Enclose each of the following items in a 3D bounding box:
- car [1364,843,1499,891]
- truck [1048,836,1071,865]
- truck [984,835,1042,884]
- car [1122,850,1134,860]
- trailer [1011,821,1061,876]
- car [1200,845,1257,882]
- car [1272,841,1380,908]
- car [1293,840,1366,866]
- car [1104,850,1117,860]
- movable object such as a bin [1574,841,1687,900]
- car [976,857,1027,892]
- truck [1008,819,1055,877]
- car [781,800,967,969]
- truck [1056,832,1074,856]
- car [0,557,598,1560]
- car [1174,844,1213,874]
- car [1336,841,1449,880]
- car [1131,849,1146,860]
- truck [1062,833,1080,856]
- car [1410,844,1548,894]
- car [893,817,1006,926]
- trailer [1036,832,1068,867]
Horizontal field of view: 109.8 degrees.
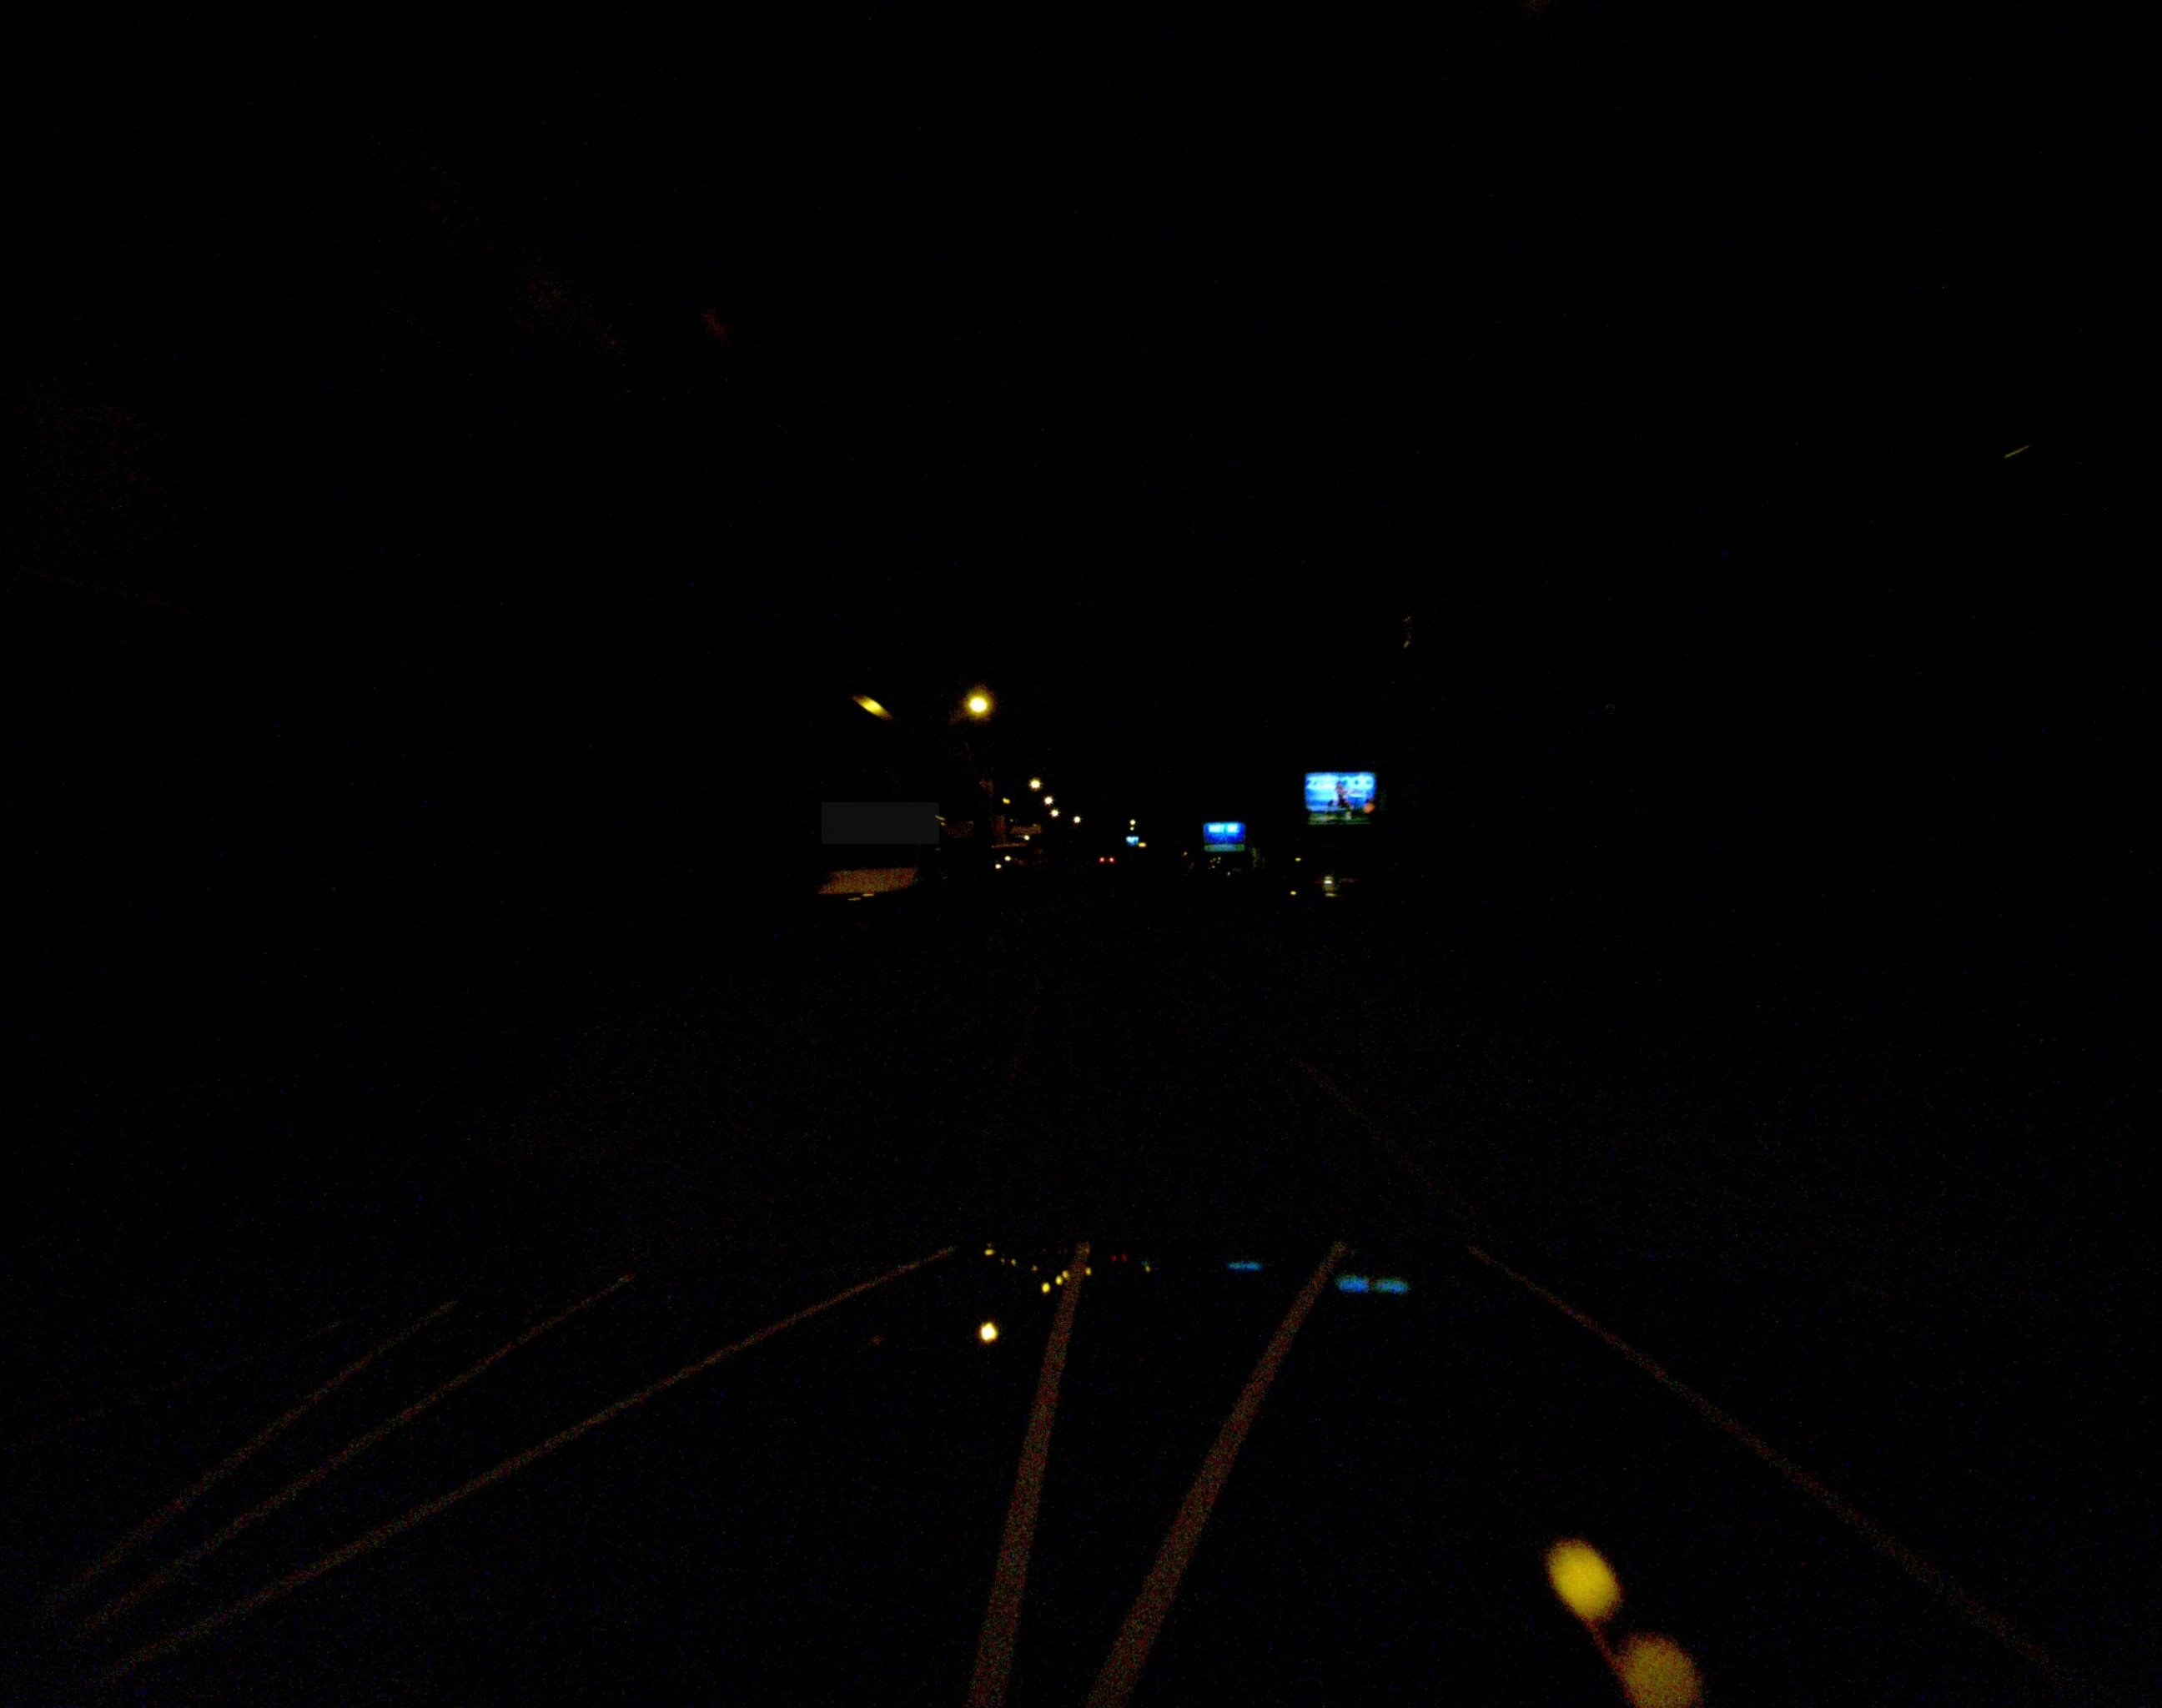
[{"bbox_3d":[12.618,0.418,27.285,4.679,1.542,1.995,-1,1,-28],"label":"car"},{"bbox_3d":[-2.986,-0.461,108.115,2.797,3.947,9.820,-2,0,0],"label":"truck"},{"bbox_3d":[-3.799,0.279,43.772,2.407,2.579,6.597,-1,0,2],"label":"truck"},{"bbox_3d":[7.491,0.124,120.749,1.690,1.357,3.879,-2,1,1],"label":"car"},{"bbox_3d":[-3.335,-0.521,60.661,2.772,3.742,14.653,-2,1,1],"label":"trailer"},{"bbox_3d":[7.321,0.437,38.224,1.952,1.678,4.815,-1,0,0],"label":"car"},{"bbox_3d":[7.371,0.545,23.313,1.818,1.838,4.414,-1,1,-1],"label":"car"},{"bbox_3d":[16.926,-0.071,51.952,4.410,1.644,1.922,-1,1,3],"label":"car"},{"bbox_3d":[4.420,0.072,114.183,1.825,1.429,4.398,-1,0,1],"label":"car"},{"bbox_3d":[14.644,0.417,20.325,1.862,1.491,1.609,-1,1,1],"label":"movable object such as a bin"},{"bbox_3d":[-3.743,0.942,36.511,1.834,1.399,4.908,-4,0,0],"label":"car"},{"bbox_3d":[-3.435,-0.434,53.640,2.772,3.742,5.227,-2,1,1],"label":"truck"},{"bbox_3d":[-3.729,0.471,15.076,2.134,2.556,5.907,-4,0,-2],"label":"car"},{"bbox_3d":[-2.786,-1.721,134.110,2.660,3.851,10.232,-2,-1,1],"label":"truck"},{"bbox_3d":[-3.794,0.556,1.050,1.998,2.511,5.910,-4,0,4],"label":"car"},{"bbox_3d":[7.199,0.285,49.021,1.809,1.788,4.878,-1,0,1],"label":"car"},{"bbox_3d":[13.420,0.247,32.742,4.420,1.551,1.996,-1,1,-24],"label":"car"},{"bbox_3d":[7.683,0.005,101.961,1.761,1.382,4.309,-1,0,2],"label":"car"},{"bbox_3d":[-1.964,-1.962,152.070,3.072,4.449,5.635,-2,1,5],"label":"truck"},{"bbox_3d":[12.847,0.436,24.477,4.421,1.432,1.789,-1,1,-28],"label":"car"},{"bbox_3d":[-3.542,0.412,21.776,1.998,2.556,6.013,-4,0,0],"label":"car"},{"bbox_3d":[-3.037,-0.463,81.136,2.885,3.504,8.283,-1,0,1],"label":"trailer"}]
